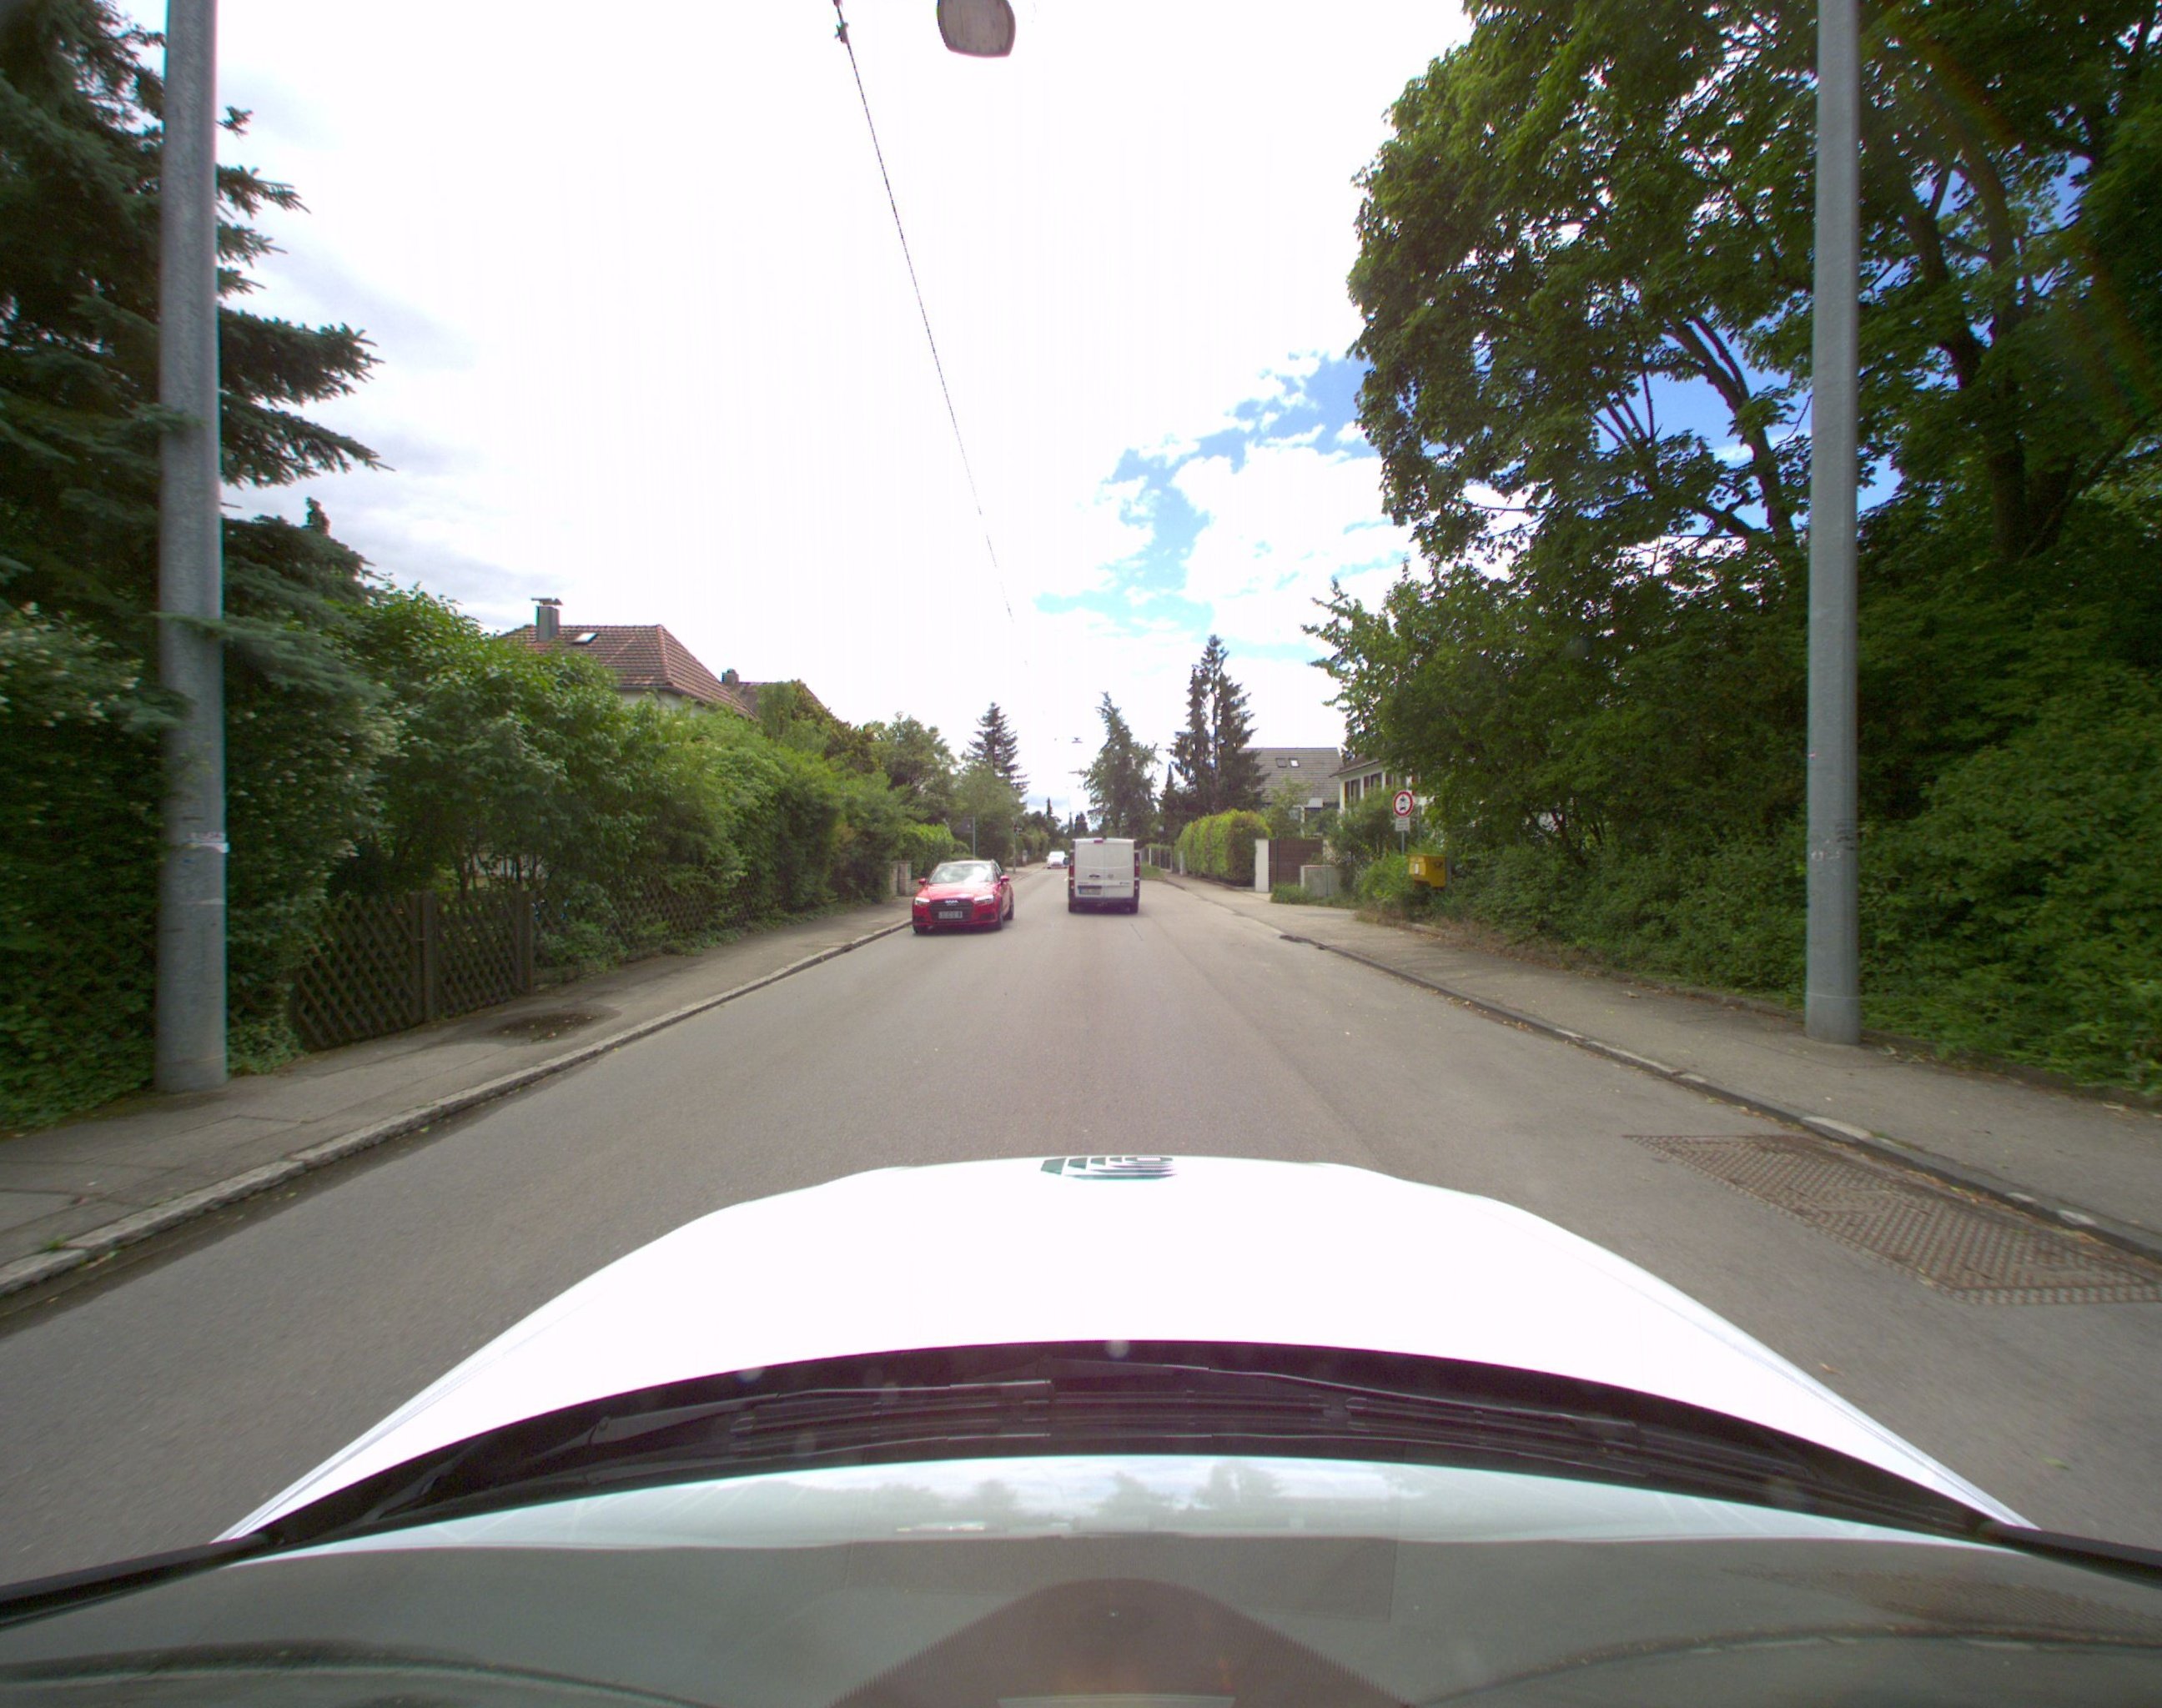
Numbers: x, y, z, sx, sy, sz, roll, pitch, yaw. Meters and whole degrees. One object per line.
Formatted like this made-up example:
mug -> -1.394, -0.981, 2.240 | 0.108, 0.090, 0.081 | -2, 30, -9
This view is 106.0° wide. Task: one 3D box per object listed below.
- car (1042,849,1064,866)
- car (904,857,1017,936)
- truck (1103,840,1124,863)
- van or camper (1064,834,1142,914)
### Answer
car -> -2.473, 0.305, 72.359 | 1.849, 1.451, 4.279 | -2, 0, -1
car -> -2.473, 0.821, 17.641 | 1.800, 1.431, 4.117 | -3, 0, -1
truck -> 3.641, -0.251, 92.459 | 2.180, 2.472, 7.430 | 1, 0, 0
van or camper -> 0.550, 0.550, 22.774 | 1.933, 1.954, 4.763 | 1, -1, 0
